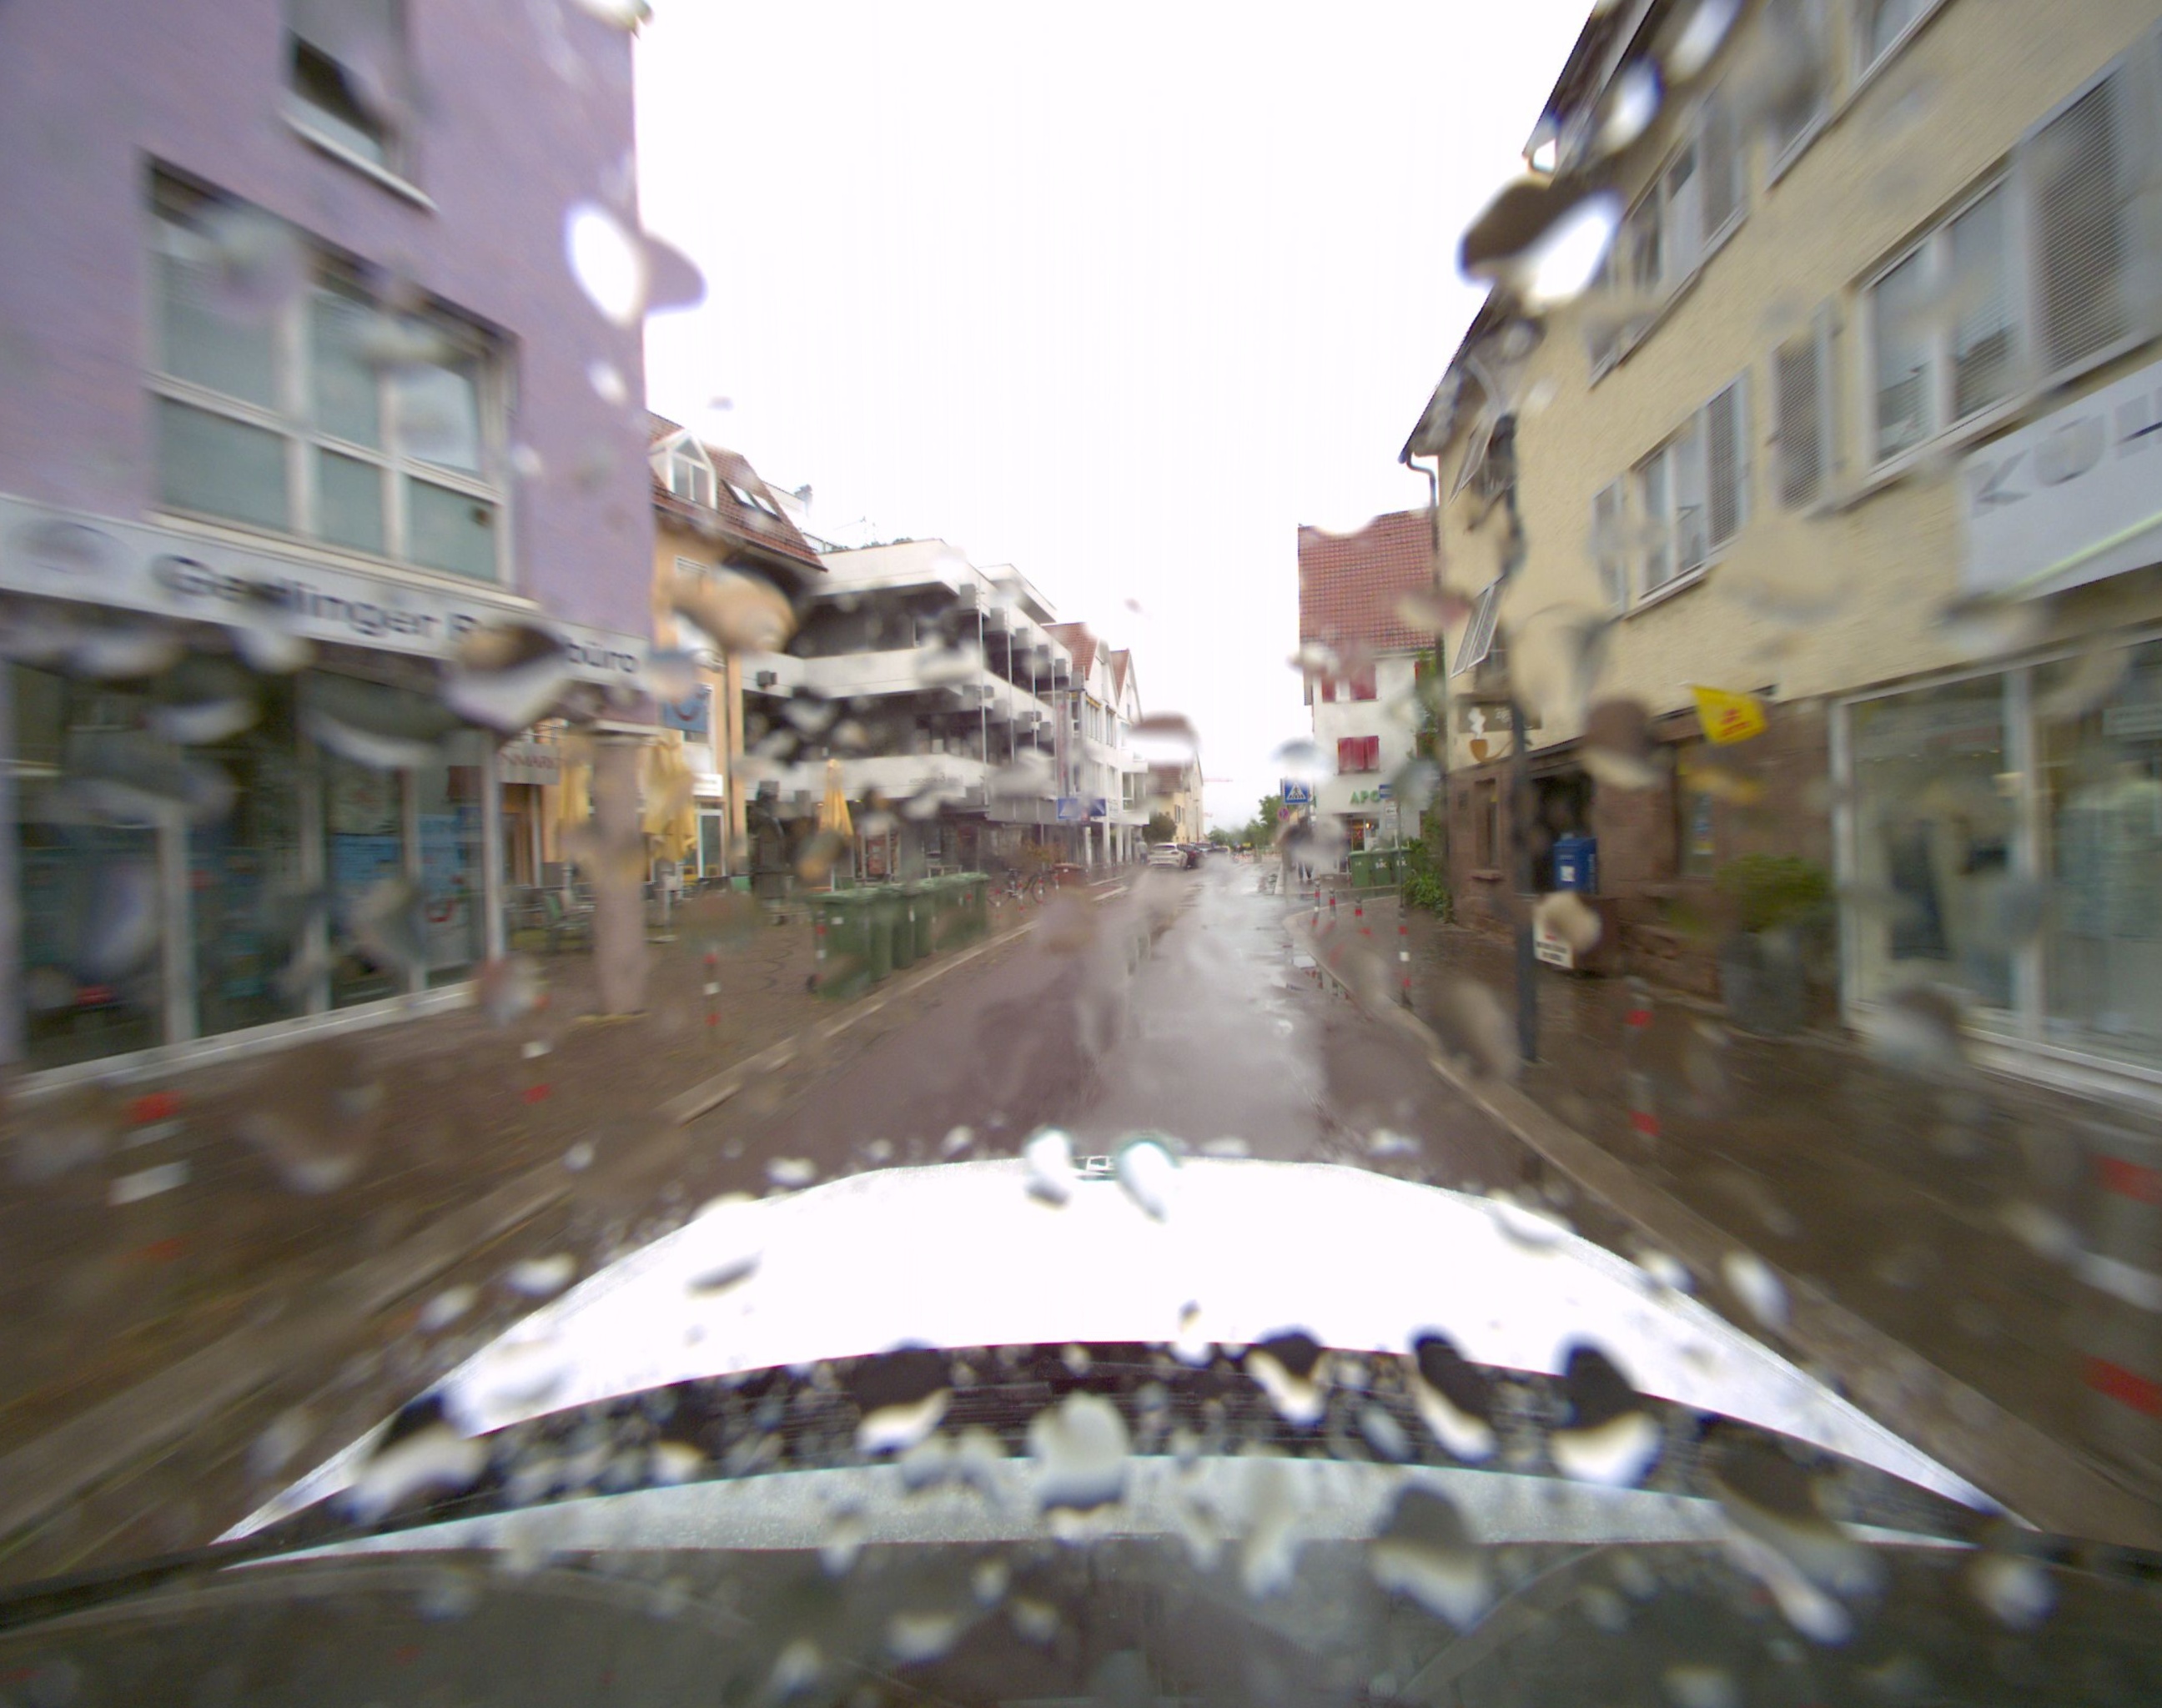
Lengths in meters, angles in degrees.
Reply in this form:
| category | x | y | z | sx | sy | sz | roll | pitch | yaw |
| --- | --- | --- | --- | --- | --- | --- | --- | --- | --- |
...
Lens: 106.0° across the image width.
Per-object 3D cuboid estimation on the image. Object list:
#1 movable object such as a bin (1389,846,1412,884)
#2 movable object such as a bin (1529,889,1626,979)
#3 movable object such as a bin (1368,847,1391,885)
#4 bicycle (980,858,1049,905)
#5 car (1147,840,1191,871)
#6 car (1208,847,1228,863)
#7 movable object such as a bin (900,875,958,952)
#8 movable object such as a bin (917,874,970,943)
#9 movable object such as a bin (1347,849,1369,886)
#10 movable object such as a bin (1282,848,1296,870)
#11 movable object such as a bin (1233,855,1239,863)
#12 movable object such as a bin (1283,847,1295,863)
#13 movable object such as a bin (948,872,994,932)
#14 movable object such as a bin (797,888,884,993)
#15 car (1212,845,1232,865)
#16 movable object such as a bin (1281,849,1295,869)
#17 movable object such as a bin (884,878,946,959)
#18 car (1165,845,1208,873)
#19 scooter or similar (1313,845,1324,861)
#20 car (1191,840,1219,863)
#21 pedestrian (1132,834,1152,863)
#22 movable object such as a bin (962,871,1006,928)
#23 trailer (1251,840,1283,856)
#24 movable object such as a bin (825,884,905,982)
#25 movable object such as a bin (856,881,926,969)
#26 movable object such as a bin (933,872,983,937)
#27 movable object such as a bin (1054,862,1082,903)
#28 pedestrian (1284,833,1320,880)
| category | x | y | z | sx | sy | sz | roll | pitch | yaw |
| --- | --- | --- | --- | --- | --- | --- | --- | --- | --- |
| movable object such as a bin | 9.193 | 0.308 | 23.447 | 0.497 | 1.056 | 0.551 | -4 | -2 | 14 |
| movable object such as a bin | 5.303 | 0.841 | 8.748 | 0.543 | 0.836 | 0.912 | -4 | 0 | 9 |
| movable object such as a bin | 8.647 | 0.353 | 23.590 | 0.497 | 1.056 | 0.551 | -4 | -2 | 14 |
| bicycle | -1.738 | 0.717 | 21.265 | 1.743 | 1.164 | 0.443 | -1 | -2 | -6 |
| car | 4.696 | 0.057 | 43.115 | 1.778 | 1.551 | 4.015 | -1 | 0 | 14 |
| car | 12.481 | 0.135 | 74.293 | 1.670 | 1.389 | 3.837 | -1 | -1 | 11 |
| movable object such as a bin | -2.315 | 0.896 | 12.470 | 0.683 | 1.105 | 0.670 | -1 | 0 | 5 |
| movable object such as a bin | -2.231 | 0.878 | 13.291 | 0.683 | 1.073 | 0.670 | -1 | 0 | 5 |
| movable object such as a bin | 8.064 | 0.399 | 23.732 | 0.497 | 1.056 | 0.551 | -4 | -2 | 14 |
| movable object such as a bin | 10.866 | 0.261 | 42.545 | 0.671 | 1.086 | 0.721 | -2 | -1 | 16 |
| movable object such as a bin | 20.910 | 0.730 | 110.027 | 0.537 | 1.033 | 0.538 | 0 | -5 | -43 |
| movable object such as a bin | 14.762 | 0.065 | 57.815 | 0.798 | 1.131 | 0.865 | -2 | -2 | 12 |
| movable object such as a bin | -2.002 | 0.873 | 14.887 | 0.683 | 1.042 | 0.670 | -1 | 0 | 5 |
| movable object such as a bin | -2.631 | 0.932 | 8.975 | 0.683 | 1.078 | 0.678 | -1 | 0 | 5 |
| car | 13.902 | 0.130 | 80.041 | 1.712 | 1.825 | 4.442 | -2 | -1 | 12 |
| movable object such as a bin | 10.990 | 0.266 | 43.307 | 0.671 | 1.084 | 0.701 | -2 | -1 | 16 |
| movable object such as a bin | -2.381 | 0.911 | 11.742 | 0.683 | 1.105 | 0.670 | -1 | 0 | 5 |
| car | 6.346 | 0.270 | 48.755 | 1.817 | 1.498 | 4.783 | -3 | 0 | 15 |
| scooter or similar | 18.213 | -0.082 | 62.322 | 0.659 | 1.146 | 1.453 | -2 | -2 | 21 |
| car | 9.406 | -0.136 | 61.397 | 1.768 | 1.569 | 4.422 | -2 | -1 | 12 |
| pedestrian | 3.876 | -0.328 | 51.610 | 1.028 | 1.806 | 1.120 | -1 | 0 | 14 |
| movable object such as a bin | -1.855 | 0.866 | 15.627 | 0.683 | 1.039 | 0.670 | -1 | 0 | 5 |
| trailer | 35.359 | -1.103 | 154.737 | 5.747 | 2.948 | 2.005 | -1 | -2 | 9 |
| movable object such as a bin | -2.560 | 0.925 | 9.723 | 0.683 | 1.087 | 0.713 | -1 | 0 | 5 |
| movable object such as a bin | -2.471 | 0.913 | 10.637 | 0.683 | 1.081 | 0.670 | -1 | 0 | 5 |
| movable object such as a bin | -2.118 | 0.861 | 14.070 | 0.683 | 1.076 | 0.670 | -1 | 0 | 5 |
| movable object such as a bin | -0.343 | 0.734 | 21.337 | 0.685 | 1.020 | 0.631 | -1 | 0 | -3 |
| pedestrian | 8.415 | 0.092 | 31.072 | 1.170 | 1.697 | 1.181 | -3 | 0 | 11 |
